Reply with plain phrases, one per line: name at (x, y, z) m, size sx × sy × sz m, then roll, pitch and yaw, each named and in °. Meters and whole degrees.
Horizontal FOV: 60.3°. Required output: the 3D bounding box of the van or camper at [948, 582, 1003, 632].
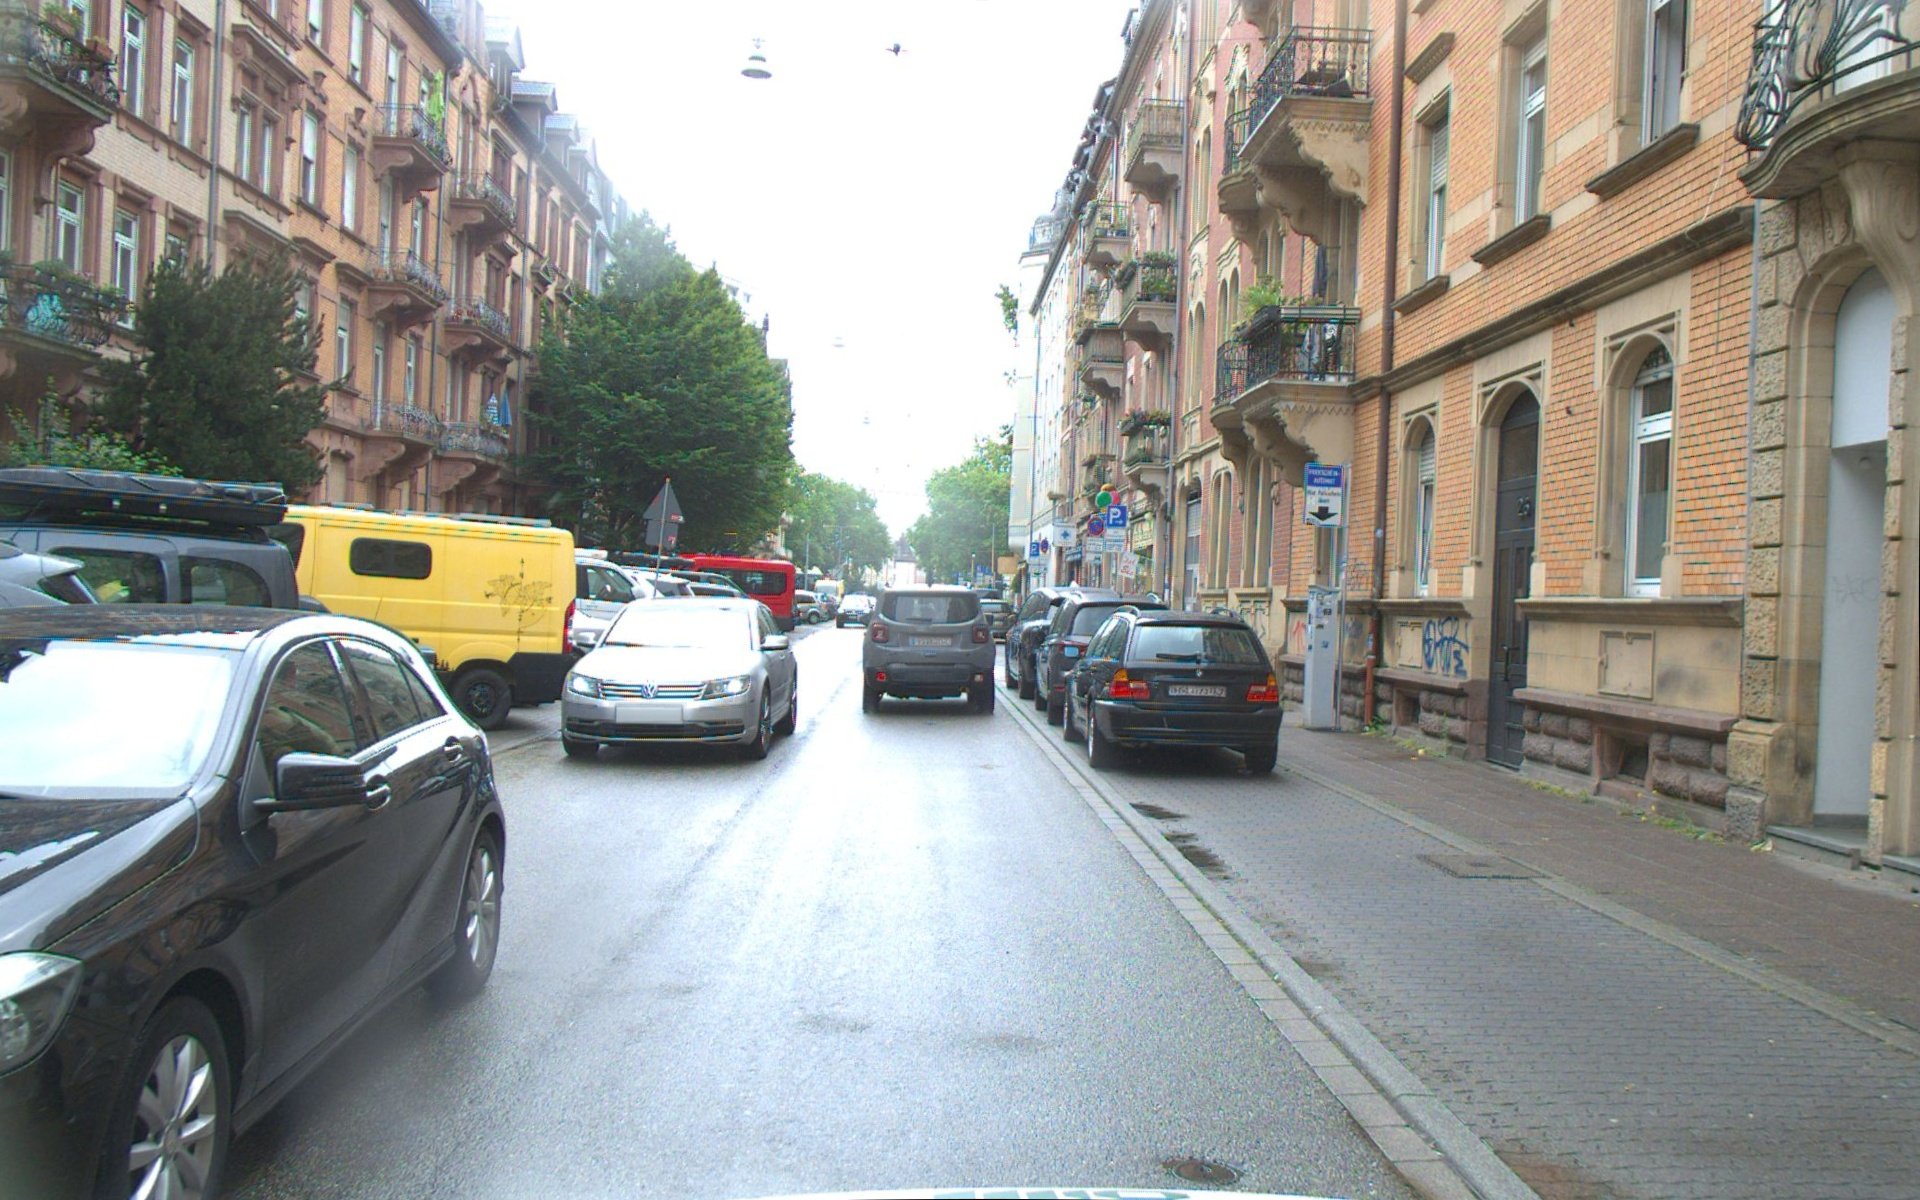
van or camper at (0.570, 0.258, 66.199) m, size 1.981 × 1.924 × 5.053 m, roll 1°, pitch 0°, yaw -2°

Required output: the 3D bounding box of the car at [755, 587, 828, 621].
car at (-8.624, 0.193, 84.638) m, size 3.347 × 1.683 × 1.614 m, roll 1°, pitch 0°, yaw -35°

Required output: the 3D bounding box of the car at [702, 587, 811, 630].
car at (-7.998, 0.339, 65.136) m, size 3.945 × 1.472 × 1.741 m, roll 4°, pitch 0°, yaw -42°

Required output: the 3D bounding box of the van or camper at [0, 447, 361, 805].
van or camper at (-6.558, 0.167, 11.508) m, size 4.035 × 2.278 × 1.914 m, roll 5°, pitch -3°, yaw -34°

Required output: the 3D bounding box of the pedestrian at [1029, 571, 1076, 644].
pedestrian at (2.704, 0.217, 48.245) m, size 0.667 × 1.962 × 0.810 m, roll 0°, pitch -25°, yaw 33°

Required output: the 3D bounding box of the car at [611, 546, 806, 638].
car at (-7.775, -0.241, 51.190) m, size 5.495 × 2.585 × 2.208 m, roll 2°, pitch 0°, yaw -30°

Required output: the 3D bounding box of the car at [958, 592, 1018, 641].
car at (0.925, 0.550, 56.769) m, size 1.804 × 1.572 × 4.001 m, roll 1°, pitch 0°, yaw -3°

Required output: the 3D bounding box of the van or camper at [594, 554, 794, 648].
van or camper at (-7.370, 0.034, 45.926) m, size 4.952 × 2.390 × 2.323 m, roll 2°, pitch 0°, yaw -28°

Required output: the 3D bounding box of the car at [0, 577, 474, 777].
car at (-6.430, 0.566, 14.302) m, size 3.952 × 1.521 × 1.806 m, roll 0°, pitch 1°, yaw -34°

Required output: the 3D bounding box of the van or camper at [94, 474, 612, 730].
van or camper at (-6.365, 0.073, 17.535) m, size 4.671 × 2.307 × 2.159 m, roll 4°, pitch 0°, yaw -35°

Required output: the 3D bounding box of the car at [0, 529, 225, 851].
car at (-6.361, 0.387, 8.793) m, size 4.096 × 1.691 × 1.777 m, roll 6°, pitch -3°, yaw -38°

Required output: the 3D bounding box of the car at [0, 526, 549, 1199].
car at (-2.510, 0.699, 4.751) m, size 1.759 × 1.520 × 4.136 m, roll 0°, pitch -2°, yaw -2°

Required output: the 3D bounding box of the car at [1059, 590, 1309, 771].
car at (2.047, 0.680, 16.338) m, size 1.751 × 1.492 × 4.483 m, roll 2°, pitch 0°, yaw -1°

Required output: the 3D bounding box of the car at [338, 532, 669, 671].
car at (-7.796, 0.065, 28.396) m, size 5.173 × 2.115 × 1.854 m, roll 3°, pitch -1°, yaw -27°

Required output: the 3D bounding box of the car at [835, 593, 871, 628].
car at (-5.228, 0.495, 80.724) m, size 1.637 × 1.586 × 4.000 m, roll 2°, pitch 0°, yaw -4°

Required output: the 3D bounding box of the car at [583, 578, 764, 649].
car at (-7.433, 0.351, 42.949) m, size 4.286 × 1.531 × 1.742 m, roll 4°, pitch 0°, yaw -25°

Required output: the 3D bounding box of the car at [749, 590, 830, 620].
car at (-8.432, 0.253, 81.928) m, size 3.675 × 1.477 × 1.663 m, roll 1°, pitch 0°, yaw -37°

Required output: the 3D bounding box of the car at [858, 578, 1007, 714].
car at (-0.455, 0.590, 23.317) m, size 1.861 × 1.700 × 4.503 m, roll 1°, pitch 0°, yaw -3°

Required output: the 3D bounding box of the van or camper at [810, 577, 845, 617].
van or camper at (-9.454, -0.190, 118.569) m, size 2.079 × 2.575 × 6.871 m, roll -2°, pitch -2°, yaw -2°

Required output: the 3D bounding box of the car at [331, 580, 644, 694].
car at (-6.680, 0.534, 23.472) m, size 3.946 × 1.461 × 1.766 m, roll 2°, pitch 0°, yaw -31°

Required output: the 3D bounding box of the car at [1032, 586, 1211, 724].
car at (1.987, 0.638, 21.565) m, size 1.833 × 1.589 × 4.344 m, roll 1°, pitch 0°, yaw -1°

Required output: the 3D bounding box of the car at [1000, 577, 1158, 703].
car at (1.804, 0.591, 26.688) m, size 1.954 × 1.810 × 4.823 m, roll 1°, pitch 0°, yaw -3°

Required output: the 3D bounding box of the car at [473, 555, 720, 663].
car at (-7.431, 0.175, 34.269) m, size 4.488 × 1.816 × 2.544 m, roll 4°, pitch 0°, yaw -3°

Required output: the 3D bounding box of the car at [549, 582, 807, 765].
car at (-2.648, 0.612, 16.563) m, size 1.758 × 1.520 × 4.583 m, roll 1°, pitch 1°, yaw 0°

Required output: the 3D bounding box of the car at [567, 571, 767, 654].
car at (-7.161, 0.314, 40.507) m, size 4.381 × 1.659 × 1.828 m, roll 5°, pitch 0°, yaw -28°
